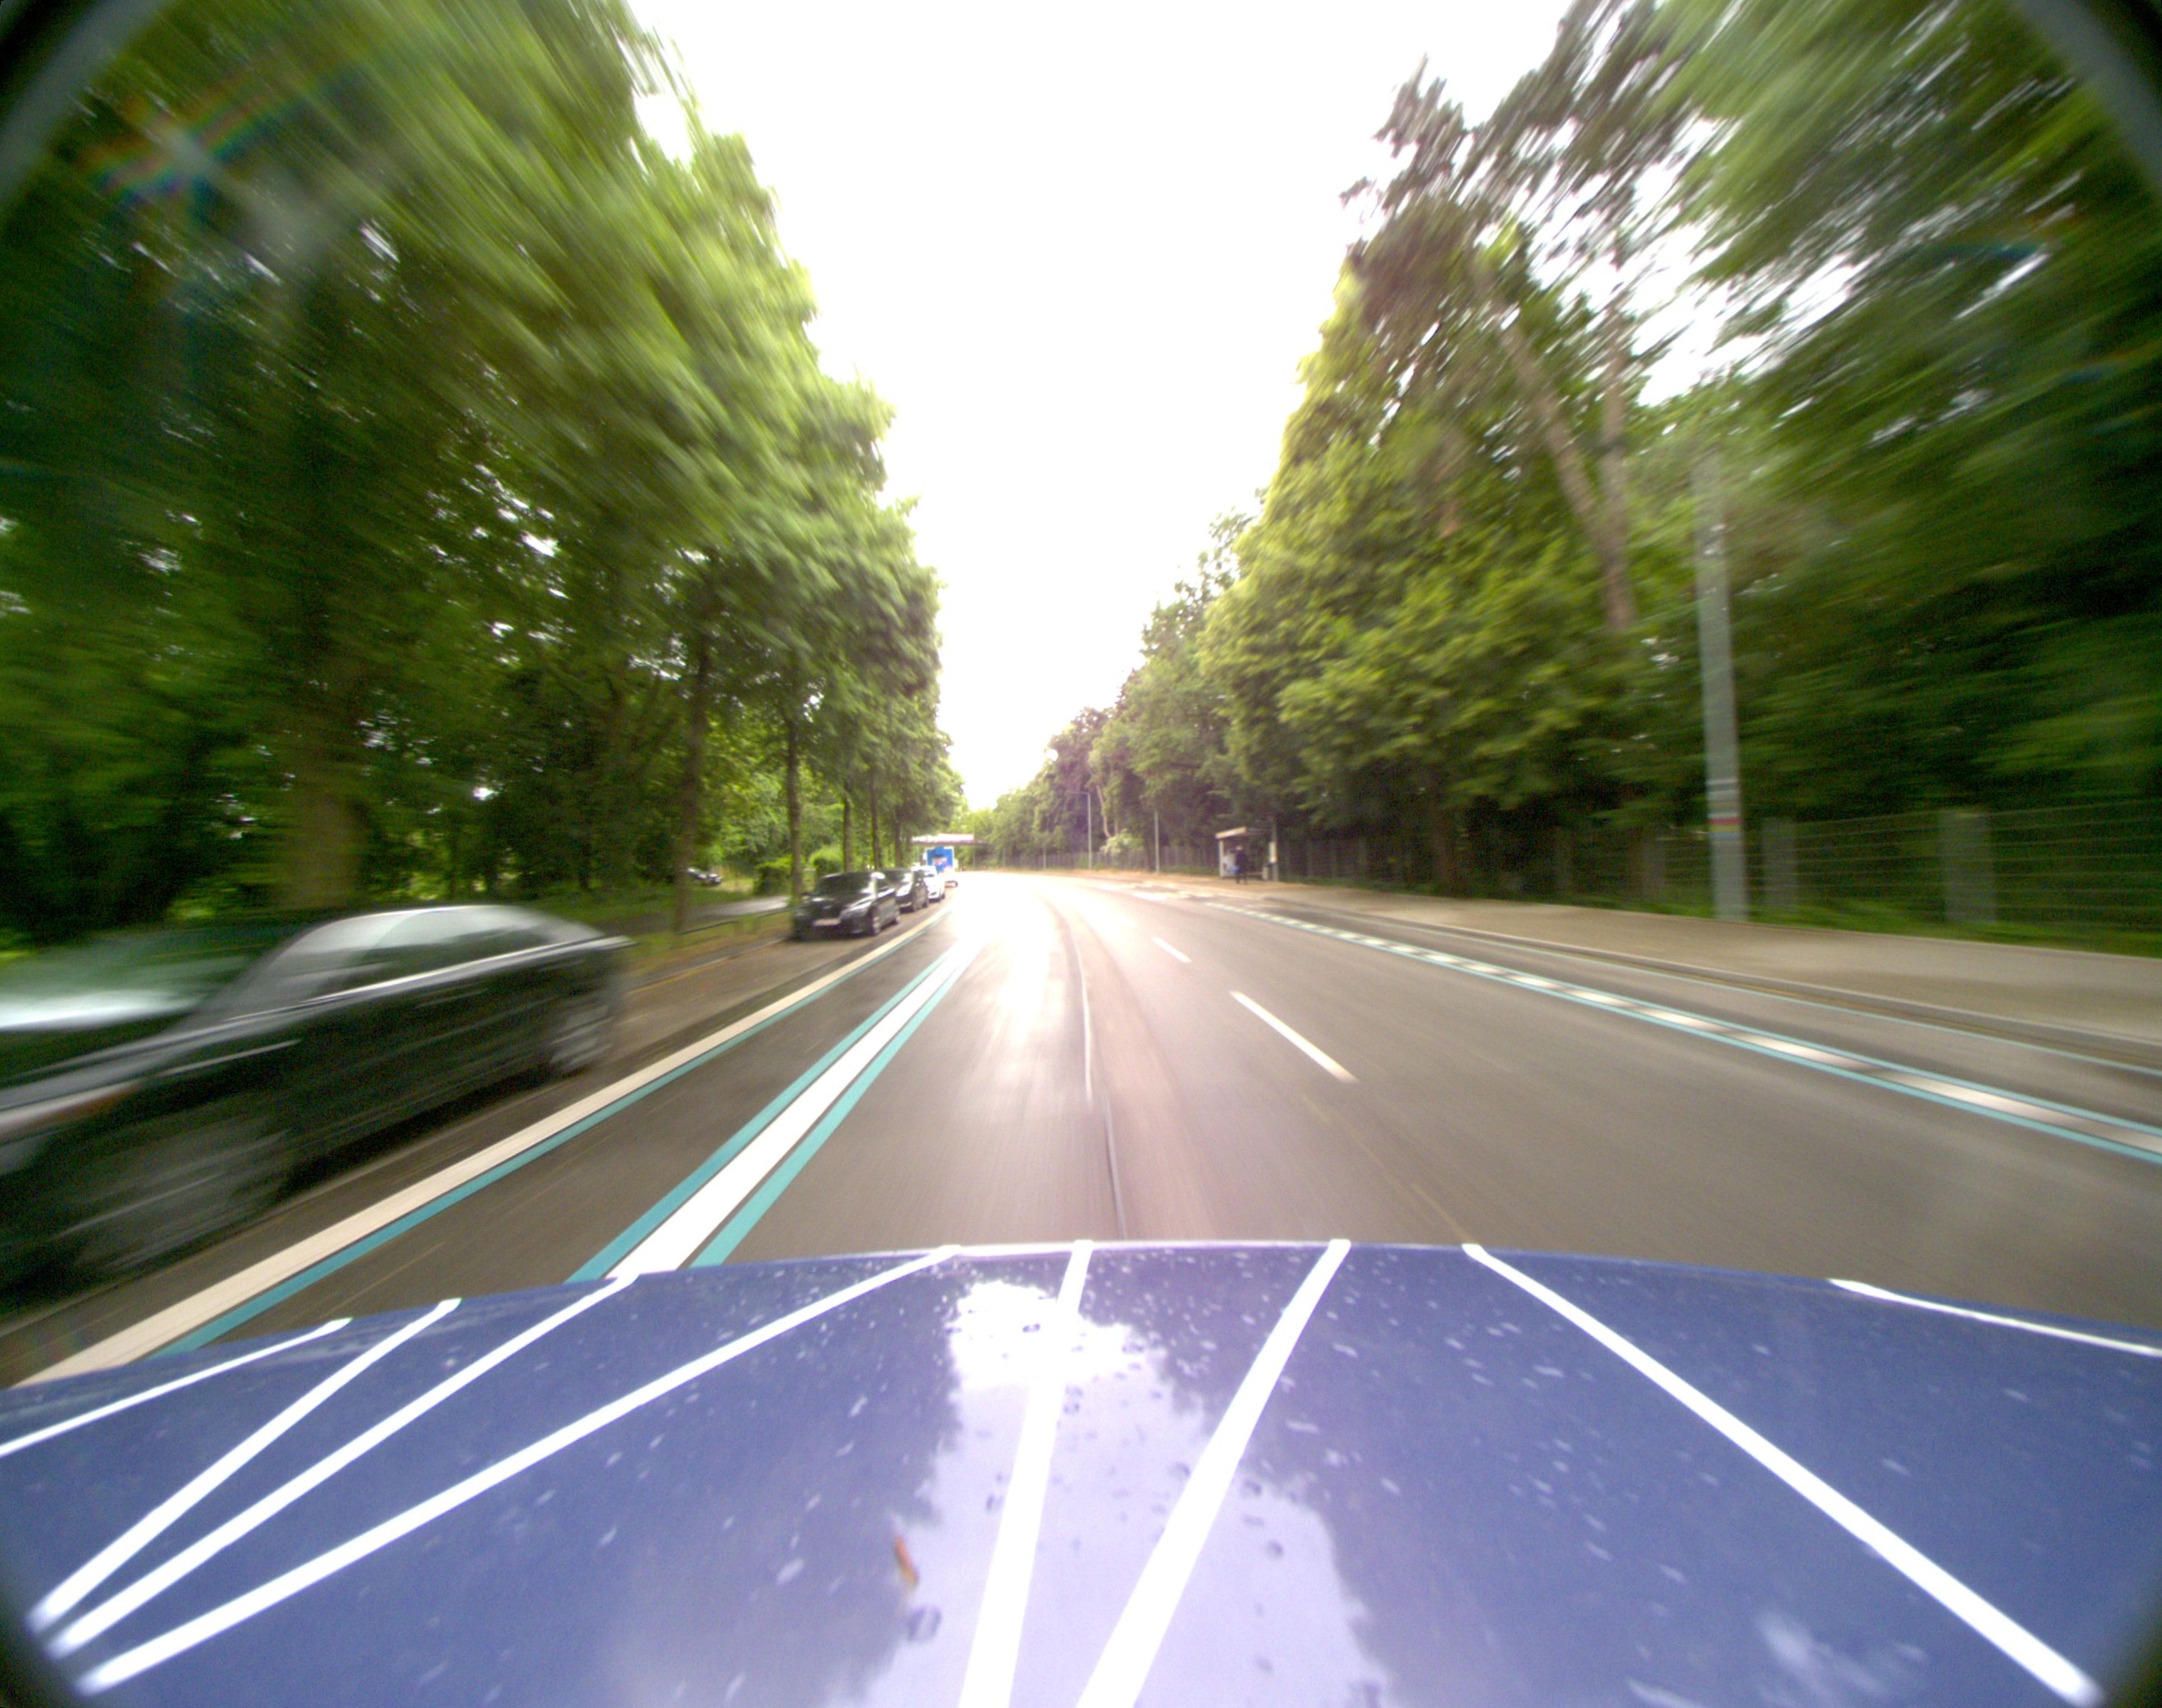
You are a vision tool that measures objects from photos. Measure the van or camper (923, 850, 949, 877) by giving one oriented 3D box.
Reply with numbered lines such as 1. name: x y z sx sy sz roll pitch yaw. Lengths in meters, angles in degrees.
1. van or camper: -15.144 0.958 79.284 2.325 2.649 6.375 -2 0 -13

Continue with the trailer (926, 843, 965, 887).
1. trailer: -9.097 0.712 50.906 2.324 2.656 5.371 -2 0 -10

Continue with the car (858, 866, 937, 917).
1. car: -6.086 1.196 25.634 1.688 1.419 4.317 -3 0 -2

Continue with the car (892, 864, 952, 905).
1. car: -6.533 1.199 31.664 1.865 1.419 4.647 -3 0 -5

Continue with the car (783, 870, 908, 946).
1. car: -5.489 1.186 18.398 1.786 1.399 4.843 -3 0 -4

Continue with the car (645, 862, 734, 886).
1. car: -22.494 1.162 43.756 4.146 1.314 1.891 0 0 1

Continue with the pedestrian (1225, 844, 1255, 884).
1. pedestrian: 7.045 0.447 33.740 0.890 1.723 1.145 -2 0 -10

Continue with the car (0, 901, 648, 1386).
1. car: -4.705 1.188 4.409 1.703 1.412 4.762 -4 0 -2
